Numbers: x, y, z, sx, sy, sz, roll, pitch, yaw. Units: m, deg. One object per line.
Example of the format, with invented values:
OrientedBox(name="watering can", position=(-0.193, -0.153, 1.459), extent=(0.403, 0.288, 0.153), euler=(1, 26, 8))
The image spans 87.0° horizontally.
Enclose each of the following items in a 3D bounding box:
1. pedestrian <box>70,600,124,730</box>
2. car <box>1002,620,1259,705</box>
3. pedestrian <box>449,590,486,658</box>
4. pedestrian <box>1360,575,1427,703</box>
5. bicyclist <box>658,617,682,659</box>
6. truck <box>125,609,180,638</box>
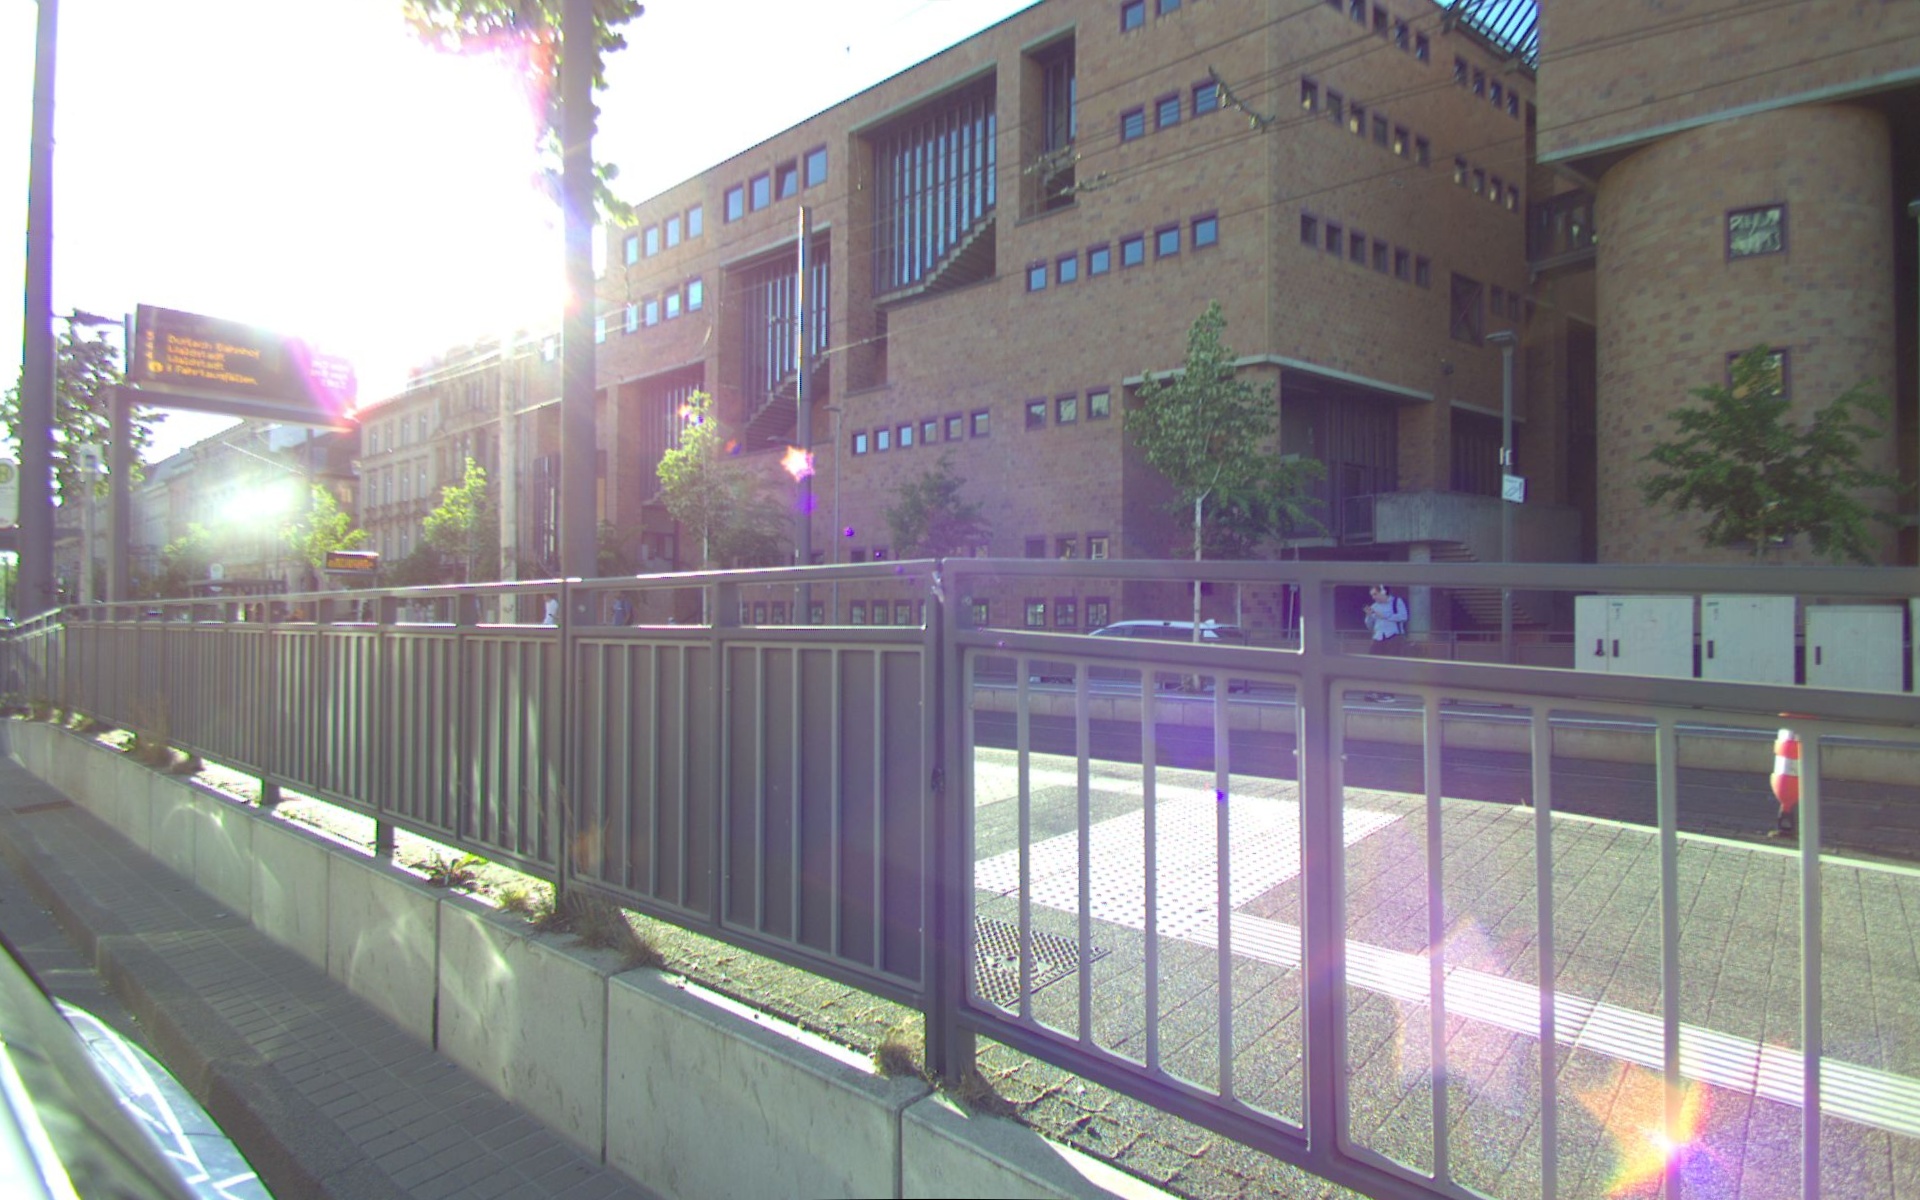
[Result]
OrientedBox(name="pedestrian", position=(-16.761, 1.239, 19.660), extent=(0.625, 2.461, 0.676), euler=(0, 0, 38))
OrientedBox(name="car", position=(3.162, 1.115, 19.287), extent=(4.522, 1.441, 1.808), euler=(-1, -2, 37))
OrientedBox(name="pedestrian", position=(-13.372, 0.633, 27.465), extent=(0.668, 1.821, 0.677), euler=(0, 0, 40))
OrientedBox(name="pedestrian", position=(5.766, 0.497, 13.457), extent=(0.684, 1.647, 0.660), euler=(0, 0, 37))
OrientedBox(name="bicyclist", position=(-10.907, 1.403, 38.051), extent=(0.650, 1.545, 0.580), euler=(0, 0, 41))
OrientedBox(name="truck", position=(-56.654, 1.663, 70.962), extent=(5.151, 1.894, 1.973), euler=(-2, -4, 40))
